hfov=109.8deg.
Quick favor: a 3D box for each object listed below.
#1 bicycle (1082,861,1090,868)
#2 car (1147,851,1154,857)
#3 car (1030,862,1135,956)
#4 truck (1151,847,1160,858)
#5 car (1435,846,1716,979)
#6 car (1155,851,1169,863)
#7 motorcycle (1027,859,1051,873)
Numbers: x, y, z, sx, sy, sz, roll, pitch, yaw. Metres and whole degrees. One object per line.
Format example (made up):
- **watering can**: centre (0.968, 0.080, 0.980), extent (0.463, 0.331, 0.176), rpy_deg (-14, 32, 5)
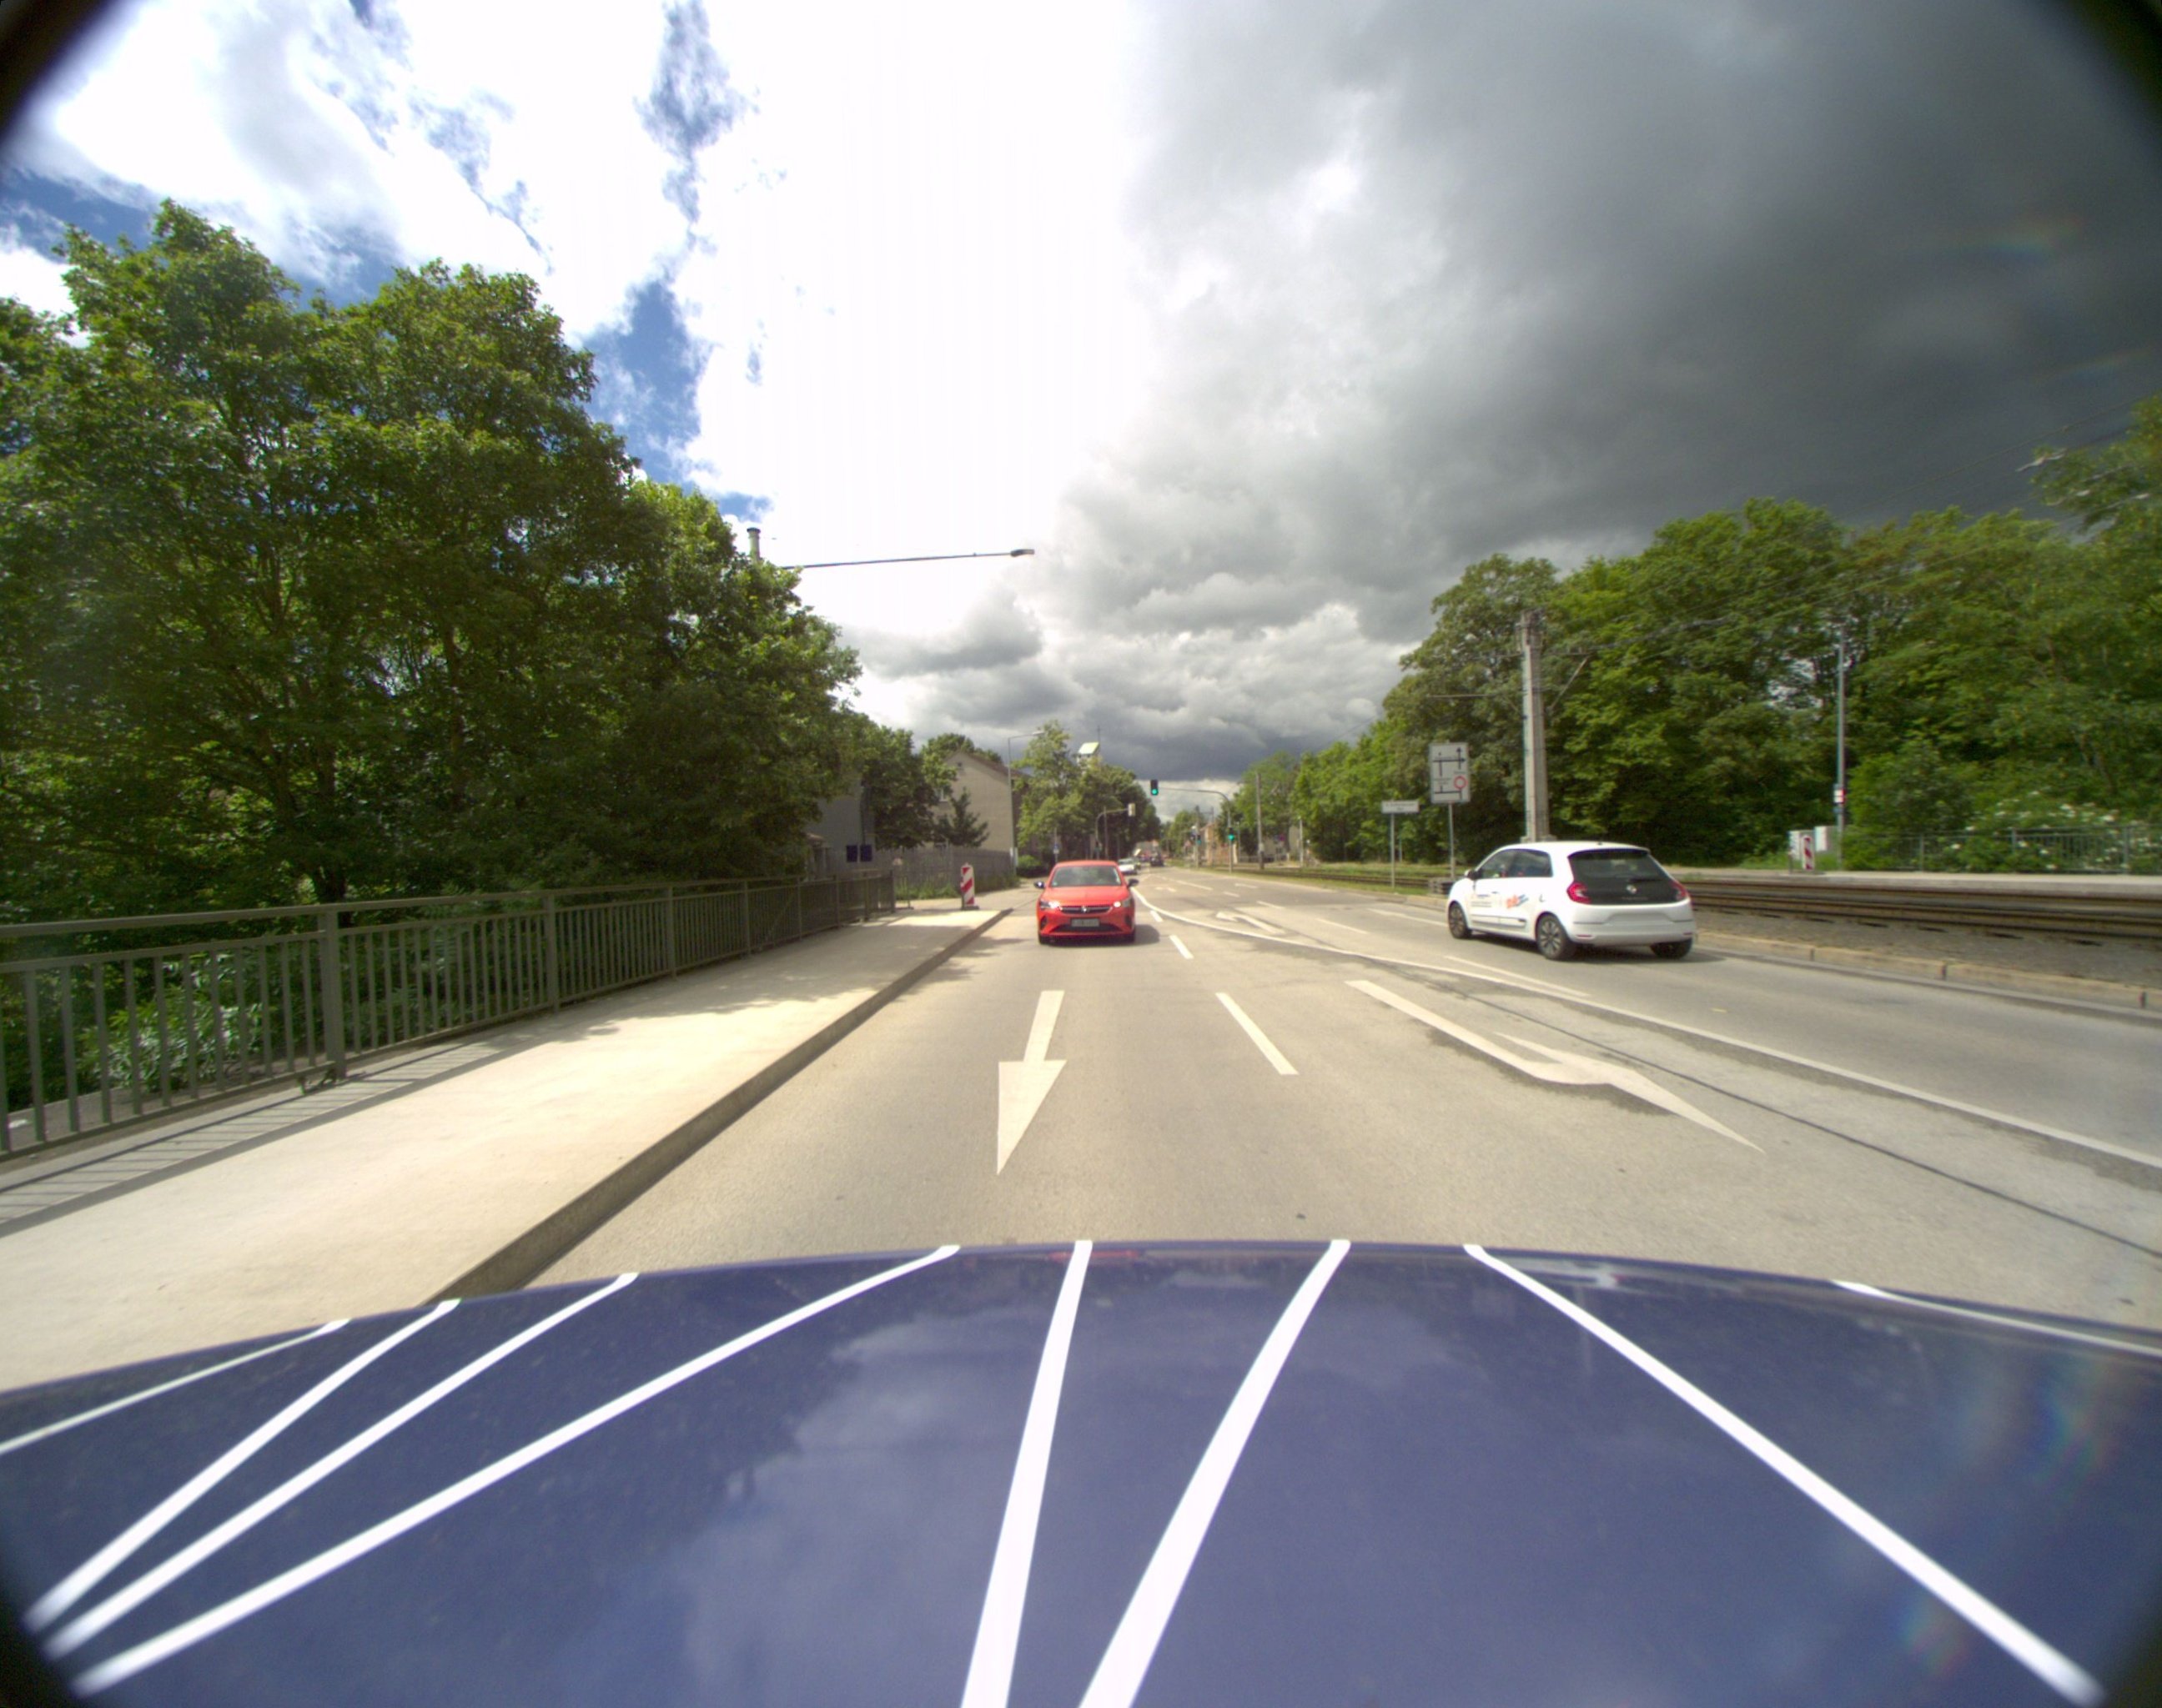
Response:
- **bicycle**: centre (0.806, 1.667, 124.249), extent (0.437, 1.074, 1.750), rpy_deg (-4, 1, -30)
- **car**: centre (17.768, 0.072, 194.033), extent (1.584, 1.476, 3.808), rpy_deg (-4, -1, 8)
- **car**: centre (0.153, 0.920, 14.434), extent (1.665, 1.512, 3.787), rpy_deg (0, 0, 5)
- **truck**: centre (20.267, -0.488, 206.134), extent (2.096, 2.723, 5.098), rpy_deg (-4, 0, 2)
- **car**: centre (6.719, 0.683, 10.830), extent (1.597, 1.518, 3.654), rpy_deg (-2, 0, 0)
- **car**: centre (11.840, 0.417, 111.709), extent (1.711, 1.666, 4.229), rpy_deg (-4, 0, 4)
- **motorcycle**: centre (-4.157, 1.177, 75.426), extent (2.208, 1.275, 0.681), rpy_deg (-2, 1, 13)
